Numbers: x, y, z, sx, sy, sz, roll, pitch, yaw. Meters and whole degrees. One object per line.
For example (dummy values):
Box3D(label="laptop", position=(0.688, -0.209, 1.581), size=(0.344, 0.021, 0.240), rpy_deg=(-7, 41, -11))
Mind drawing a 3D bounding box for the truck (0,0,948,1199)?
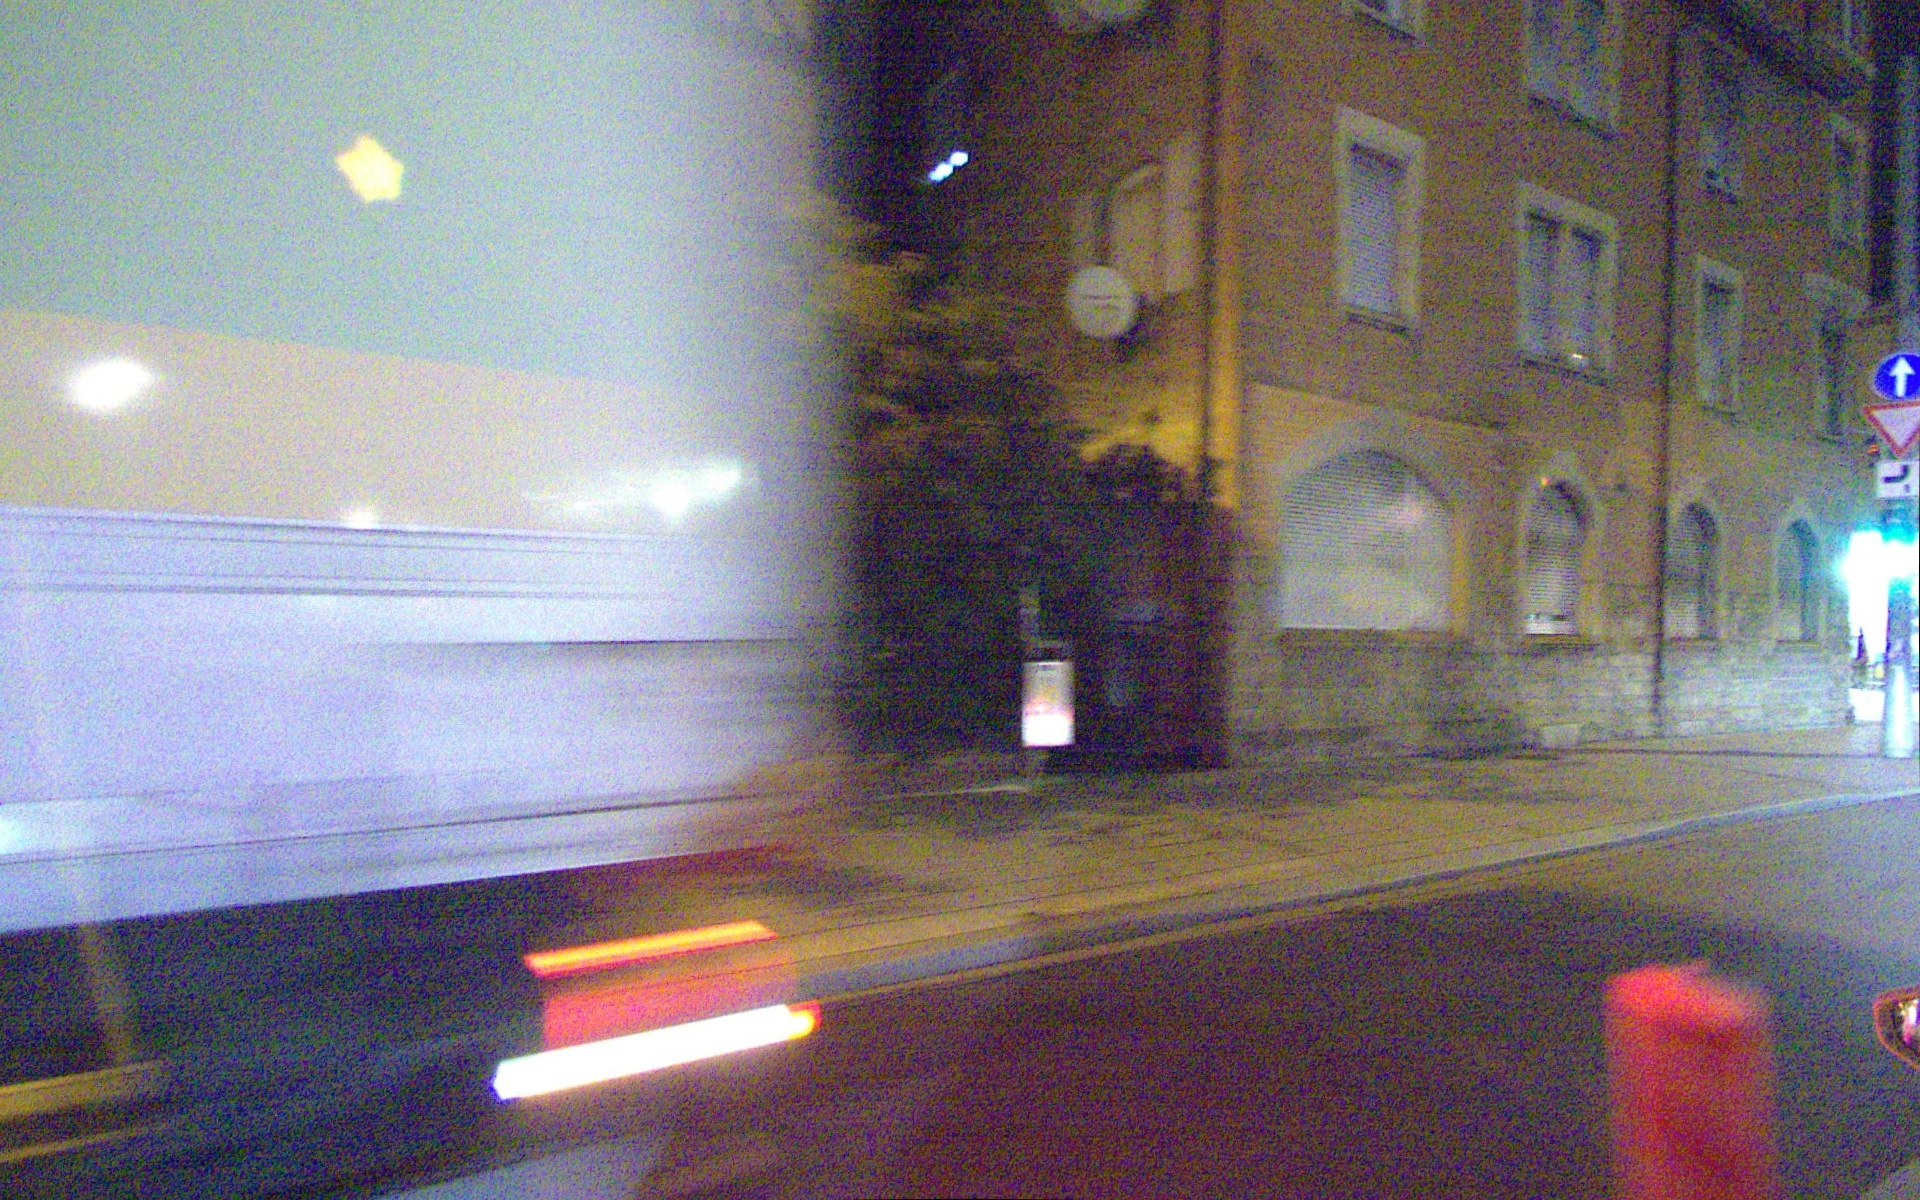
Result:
Box3D(label="truck", position=(-4.994, -0.535, 0.120), size=(9.995, 3.766, 2.742), rpy_deg=(2, -3, -31))
